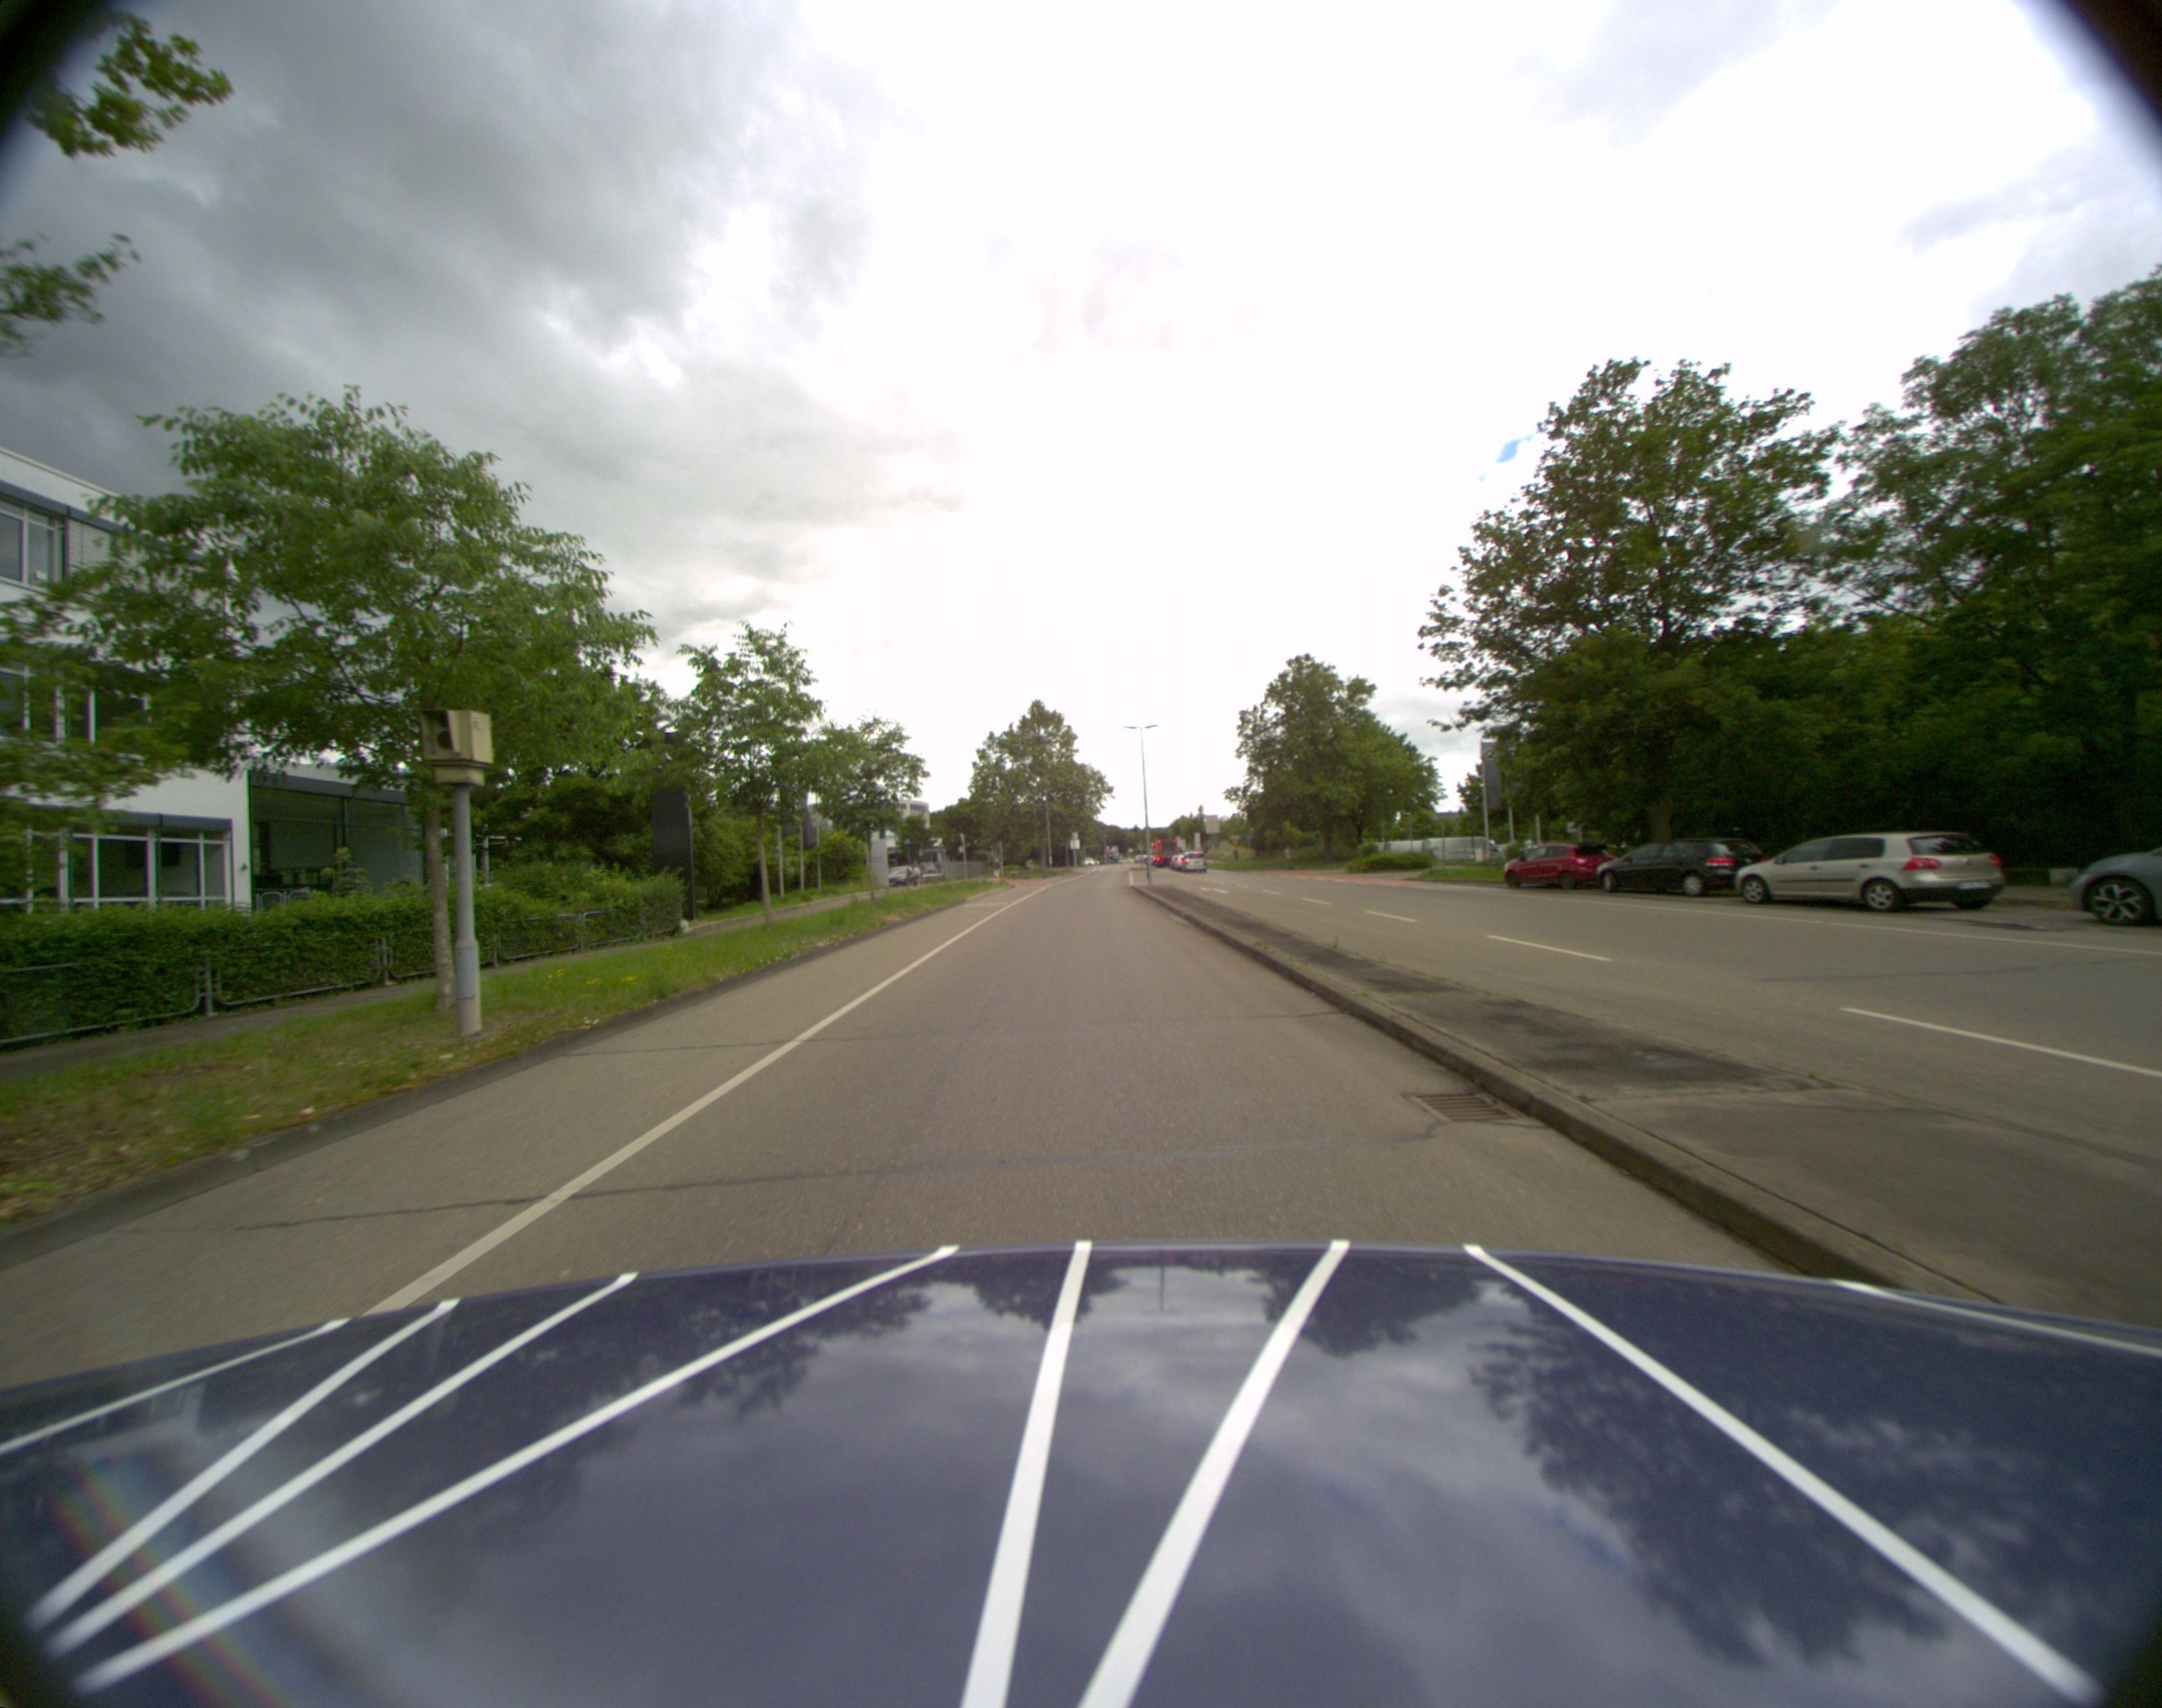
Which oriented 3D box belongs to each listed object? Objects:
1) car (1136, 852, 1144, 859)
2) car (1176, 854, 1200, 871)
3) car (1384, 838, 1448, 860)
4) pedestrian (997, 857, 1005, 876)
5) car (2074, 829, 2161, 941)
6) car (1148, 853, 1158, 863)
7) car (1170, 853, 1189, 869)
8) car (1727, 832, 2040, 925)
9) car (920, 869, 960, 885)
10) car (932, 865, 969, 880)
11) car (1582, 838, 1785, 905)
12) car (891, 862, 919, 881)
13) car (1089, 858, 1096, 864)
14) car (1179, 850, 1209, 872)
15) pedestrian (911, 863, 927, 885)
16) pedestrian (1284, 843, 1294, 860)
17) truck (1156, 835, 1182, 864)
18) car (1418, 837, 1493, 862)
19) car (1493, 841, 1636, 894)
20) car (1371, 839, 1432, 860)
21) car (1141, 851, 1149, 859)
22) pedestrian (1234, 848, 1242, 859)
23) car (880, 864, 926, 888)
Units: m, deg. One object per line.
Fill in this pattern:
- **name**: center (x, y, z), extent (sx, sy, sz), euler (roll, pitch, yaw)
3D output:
- **car**: center (12.656, 0.320, 162.232), extent (1.591, 1.608, 3.584), euler (-2, 0, 4)
- **car**: center (10.186, 0.797, 72.299), extent (1.733, 1.477, 4.123), euler (-1, 0, 1)
- **car**: center (31.680, -0.499, 71.936), extent (5.297, 2.002, 1.739), euler (-1, 1, 1)
- **pedestrian**: center (-7.323, 1.105, 69.620), extent (0.734, 1.717, 0.501), euler (-1, 1, -3)
- **car**: center (15.759, 0.392, 9.329), extent (1.880, 1.498, 4.000), euler (-3, 0, 1)
- **car**: center (11.999, 0.690, 127.013), extent (1.591, 1.608, 3.584), euler (-2, 0, 4)
- **car**: center (10.354, 0.726, 79.966), extent (1.639, 1.553, 3.351), euler (-2, 0, 1)
- **car**: center (15.583, 0.416, 15.146), extent (1.880, 1.498, 4.056), euler (-3, 0, 0)
- **car**: center (-16.266, 2.687, 87.755), extent (4.188, 1.439, 1.819), euler (-5, -1, -1)
- **car**: center (-15.927, 2.252, 92.901), extent (4.188, 1.439, 1.819), euler (-5, -1, -1)
- **car**: center (15.868, 0.432, 20.321), extent (1.881, 1.498, 3.997), euler (-3, 0, -9)
- **car**: center (-22.321, 2.276, 96.372), extent (2.119, 2.261, 4.474), euler (-2, -1, -32)
- **car**: center (2.781, 1.758, 187.036), extent (1.592, 1.480, 3.583), euler (-2, 0, 0)
- **car**: center (9.761, 0.561, 66.071), extent (1.833, 1.759, 4.406), euler (-3, 0, 0)
- **pedestrian**: center (-12.092, 1.504, 56.816), extent (0.943, 1.557, 0.812), euler (-1, 1, 8)
- **pedestrian**: center (21.551, -0.244, 78.678), extent (0.757, 1.727, 0.638), euler (-4, 1, -8)
- **truck**: center (11.097, -0.580, 96.795), extent (2.831, 3.460, 7.825), euler (-2, 0, 4)
- **car**: center (31.348, -0.367, 63.712), extent (5.298, 2.002, 2.011), euler (-1, 1, -1)
- **car**: center (15.739, 0.417, 24.992), extent (1.881, 1.498, 3.886), euler (-4, 0, -6)
- **car**: center (31.702, -0.469, 75.259), extent (5.298, 2.002, 1.739), euler (-1, 1, -1)
- **car**: center (13.138, 0.258, 156.681), extent (1.591, 1.608, 3.584), euler (-2, 0, 4)
- **pedestrian**: center (19.841, -0.072, 96.002), extent (0.757, 1.438, 0.639), euler (-3, 1, 0)
- **car**: center (-12.325, 1.488, 52.933), extent (1.851, 1.408, 4.981), euler (-5, 0, 1)
